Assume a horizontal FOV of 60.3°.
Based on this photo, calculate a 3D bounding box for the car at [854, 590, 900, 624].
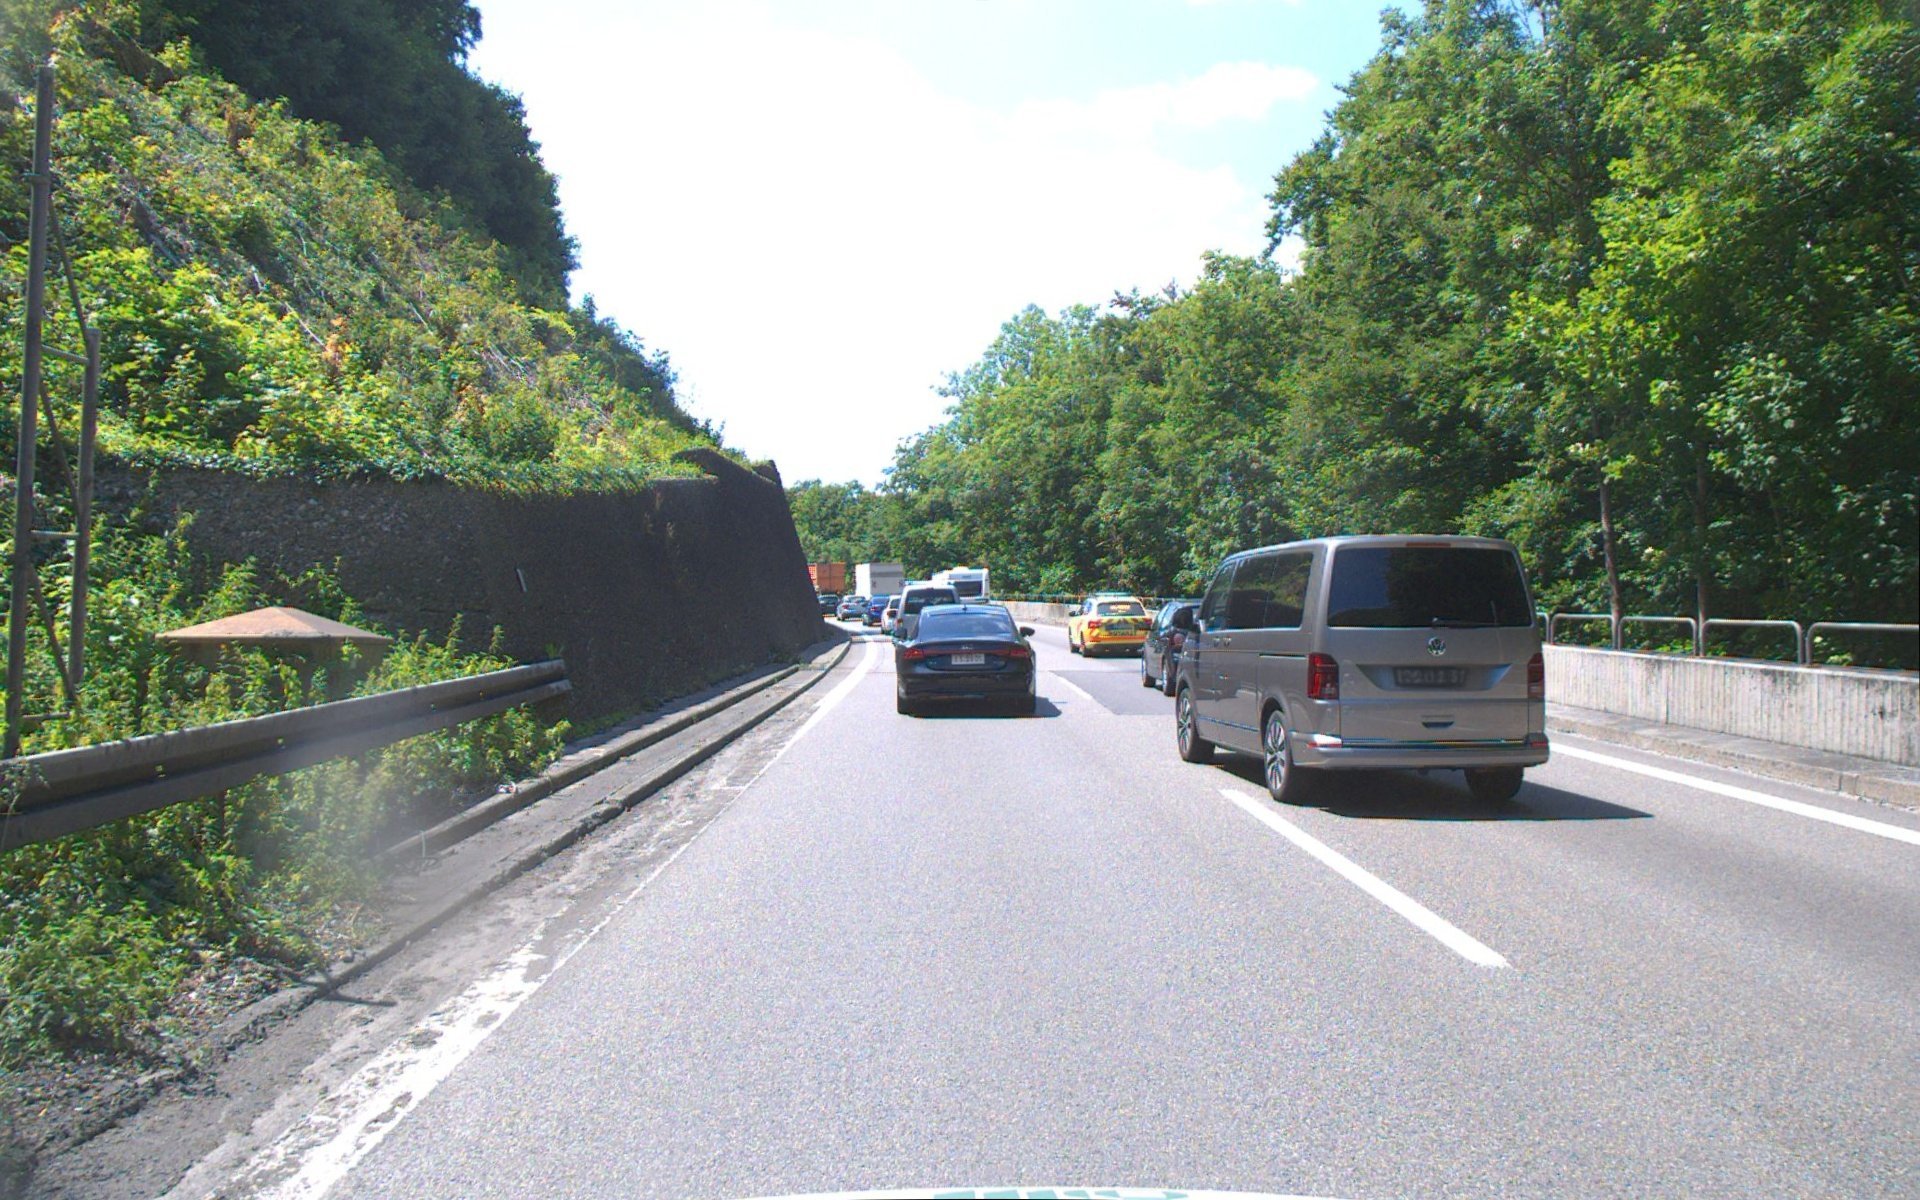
[{"bbox_3d":[-4.200,0.340,83.039,1.824,1.648,3.991,-1,0,-9],"label":"car"}]

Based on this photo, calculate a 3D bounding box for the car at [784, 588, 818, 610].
[{"bbox_3d":[-12.085,-0.116,125.271,1.724,1.598,3.751,1,0,-19],"label":"car"}]

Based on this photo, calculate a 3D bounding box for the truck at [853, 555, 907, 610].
[{"bbox_3d":[-5.910,-1.264,121.093,2.872,3.751,7.708,3,0,-9],"label":"truck"}]

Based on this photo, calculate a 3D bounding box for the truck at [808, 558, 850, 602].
[{"bbox_3d":[-11.409,-1.685,143.365,3.104,3.528,8.209,3,0,-7],"label":"truck"}]

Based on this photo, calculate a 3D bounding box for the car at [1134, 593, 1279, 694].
[{"bbox_3d":[3.887,0.647,26.684,1.651,1.484,3.999,1,0,-1],"label":"car"}]

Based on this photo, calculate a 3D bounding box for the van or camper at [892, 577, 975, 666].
[{"bbox_3d":[-0.643,0.495,40.259,1.816,1.975,4.164,3,0,-1],"label":"van or camper"}]

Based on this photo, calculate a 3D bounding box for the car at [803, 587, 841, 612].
[{"bbox_3d":[-9.242,-0.018,110.542,1.723,1.598,3.753,1,0,-17],"label":"car"}]

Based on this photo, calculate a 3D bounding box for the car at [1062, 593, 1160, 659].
[{"bbox_3d":[3.766,0.619,41.766,1.773,1.503,4.078,3,0,-4],"label":"car"}]

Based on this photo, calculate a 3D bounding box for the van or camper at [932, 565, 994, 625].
[{"bbox_3d":[0.074,-0.257,83.973,2.553,2.905,6.329,1,0,-5],"label":"van or camper"}]

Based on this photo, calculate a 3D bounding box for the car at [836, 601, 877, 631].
[{"bbox_3d":[-6.132,0.931,97.539,1.957,1.646,3.992,3,0,-9],"label":"car"}]

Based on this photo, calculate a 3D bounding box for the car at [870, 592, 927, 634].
[{"bbox_3d":[-2.523,0.505,66.834,1.860,1.612,3.764,1,0,-9],"label":"car"}]

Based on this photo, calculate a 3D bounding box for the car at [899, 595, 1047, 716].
[{"bbox_3d":[0.102,0.695,23.036,1.866,1.515,4.377,0,0,-2],"label":"car"}]

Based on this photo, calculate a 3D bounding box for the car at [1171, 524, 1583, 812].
[{"bbox_3d":[3.171,0.456,13.680,1.902,1.965,4.690,0,0,-5],"label":"car"}]
